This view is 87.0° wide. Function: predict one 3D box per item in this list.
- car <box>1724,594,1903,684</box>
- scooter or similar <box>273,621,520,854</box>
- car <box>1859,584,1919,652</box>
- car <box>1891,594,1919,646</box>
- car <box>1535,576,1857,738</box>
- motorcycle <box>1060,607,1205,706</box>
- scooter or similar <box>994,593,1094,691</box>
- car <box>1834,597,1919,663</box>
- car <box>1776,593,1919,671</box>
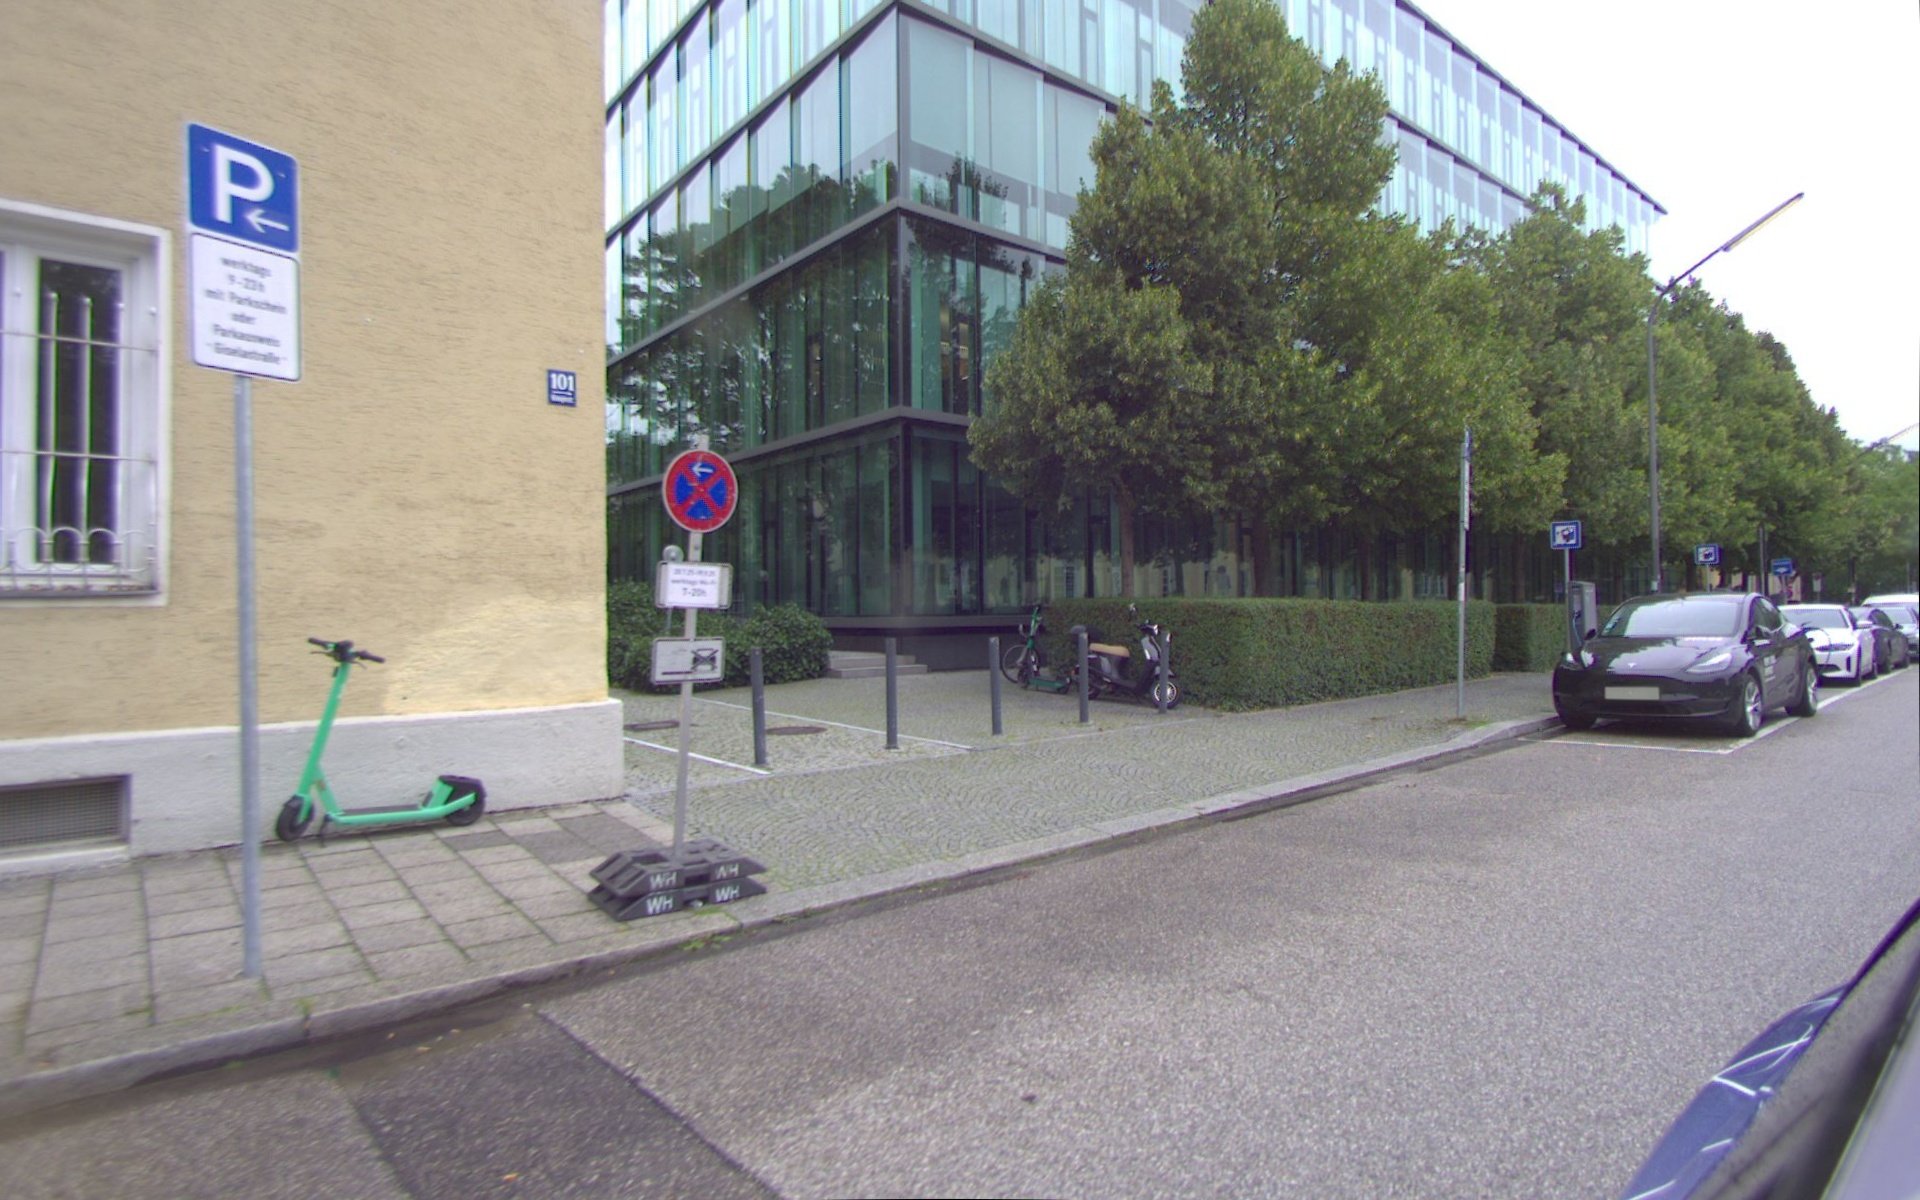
[{"bbox_3d":[16.203,0.680,19.113,4.874,1.479,1.995,0,-2,-43],"label":"car"},{"bbox_3d":[-3.430,0.780,6.224,1.286,1.271,0.342,0,1,-41],"label":"scooter or similar"},{"bbox_3d":[28.711,0.516,30.536,4.494,1.920,1.787,0,-2,-41],"label":"car"},{"bbox_3d":[33.202,0.643,34.408,4.703,1.713,1.869,0,-2,-43],"label":"car"},{"bbox_3d":[9.355,0.613,12.700,5.008,1.652,1.997,0,-2,-39],"label":"car"},{"bbox_3d":[2.259,0.707,13.448,0.695,1.147,1.898,0,2,-39],"label":"motorcycle"},{"bbox_3d":[1.215,0.579,14.787,0.659,1.318,1.349,-2,2,-44],"label":"scooter or similar"},{"bbox_3d":[24.558,0.747,26.499,4.920,1.572,1.948,0,-2,-43],"label":"car"},{"bbox_3d":[20.157,0.674,22.741,4.764,1.572,1.965,0,-2,-41],"label":"car"}]
